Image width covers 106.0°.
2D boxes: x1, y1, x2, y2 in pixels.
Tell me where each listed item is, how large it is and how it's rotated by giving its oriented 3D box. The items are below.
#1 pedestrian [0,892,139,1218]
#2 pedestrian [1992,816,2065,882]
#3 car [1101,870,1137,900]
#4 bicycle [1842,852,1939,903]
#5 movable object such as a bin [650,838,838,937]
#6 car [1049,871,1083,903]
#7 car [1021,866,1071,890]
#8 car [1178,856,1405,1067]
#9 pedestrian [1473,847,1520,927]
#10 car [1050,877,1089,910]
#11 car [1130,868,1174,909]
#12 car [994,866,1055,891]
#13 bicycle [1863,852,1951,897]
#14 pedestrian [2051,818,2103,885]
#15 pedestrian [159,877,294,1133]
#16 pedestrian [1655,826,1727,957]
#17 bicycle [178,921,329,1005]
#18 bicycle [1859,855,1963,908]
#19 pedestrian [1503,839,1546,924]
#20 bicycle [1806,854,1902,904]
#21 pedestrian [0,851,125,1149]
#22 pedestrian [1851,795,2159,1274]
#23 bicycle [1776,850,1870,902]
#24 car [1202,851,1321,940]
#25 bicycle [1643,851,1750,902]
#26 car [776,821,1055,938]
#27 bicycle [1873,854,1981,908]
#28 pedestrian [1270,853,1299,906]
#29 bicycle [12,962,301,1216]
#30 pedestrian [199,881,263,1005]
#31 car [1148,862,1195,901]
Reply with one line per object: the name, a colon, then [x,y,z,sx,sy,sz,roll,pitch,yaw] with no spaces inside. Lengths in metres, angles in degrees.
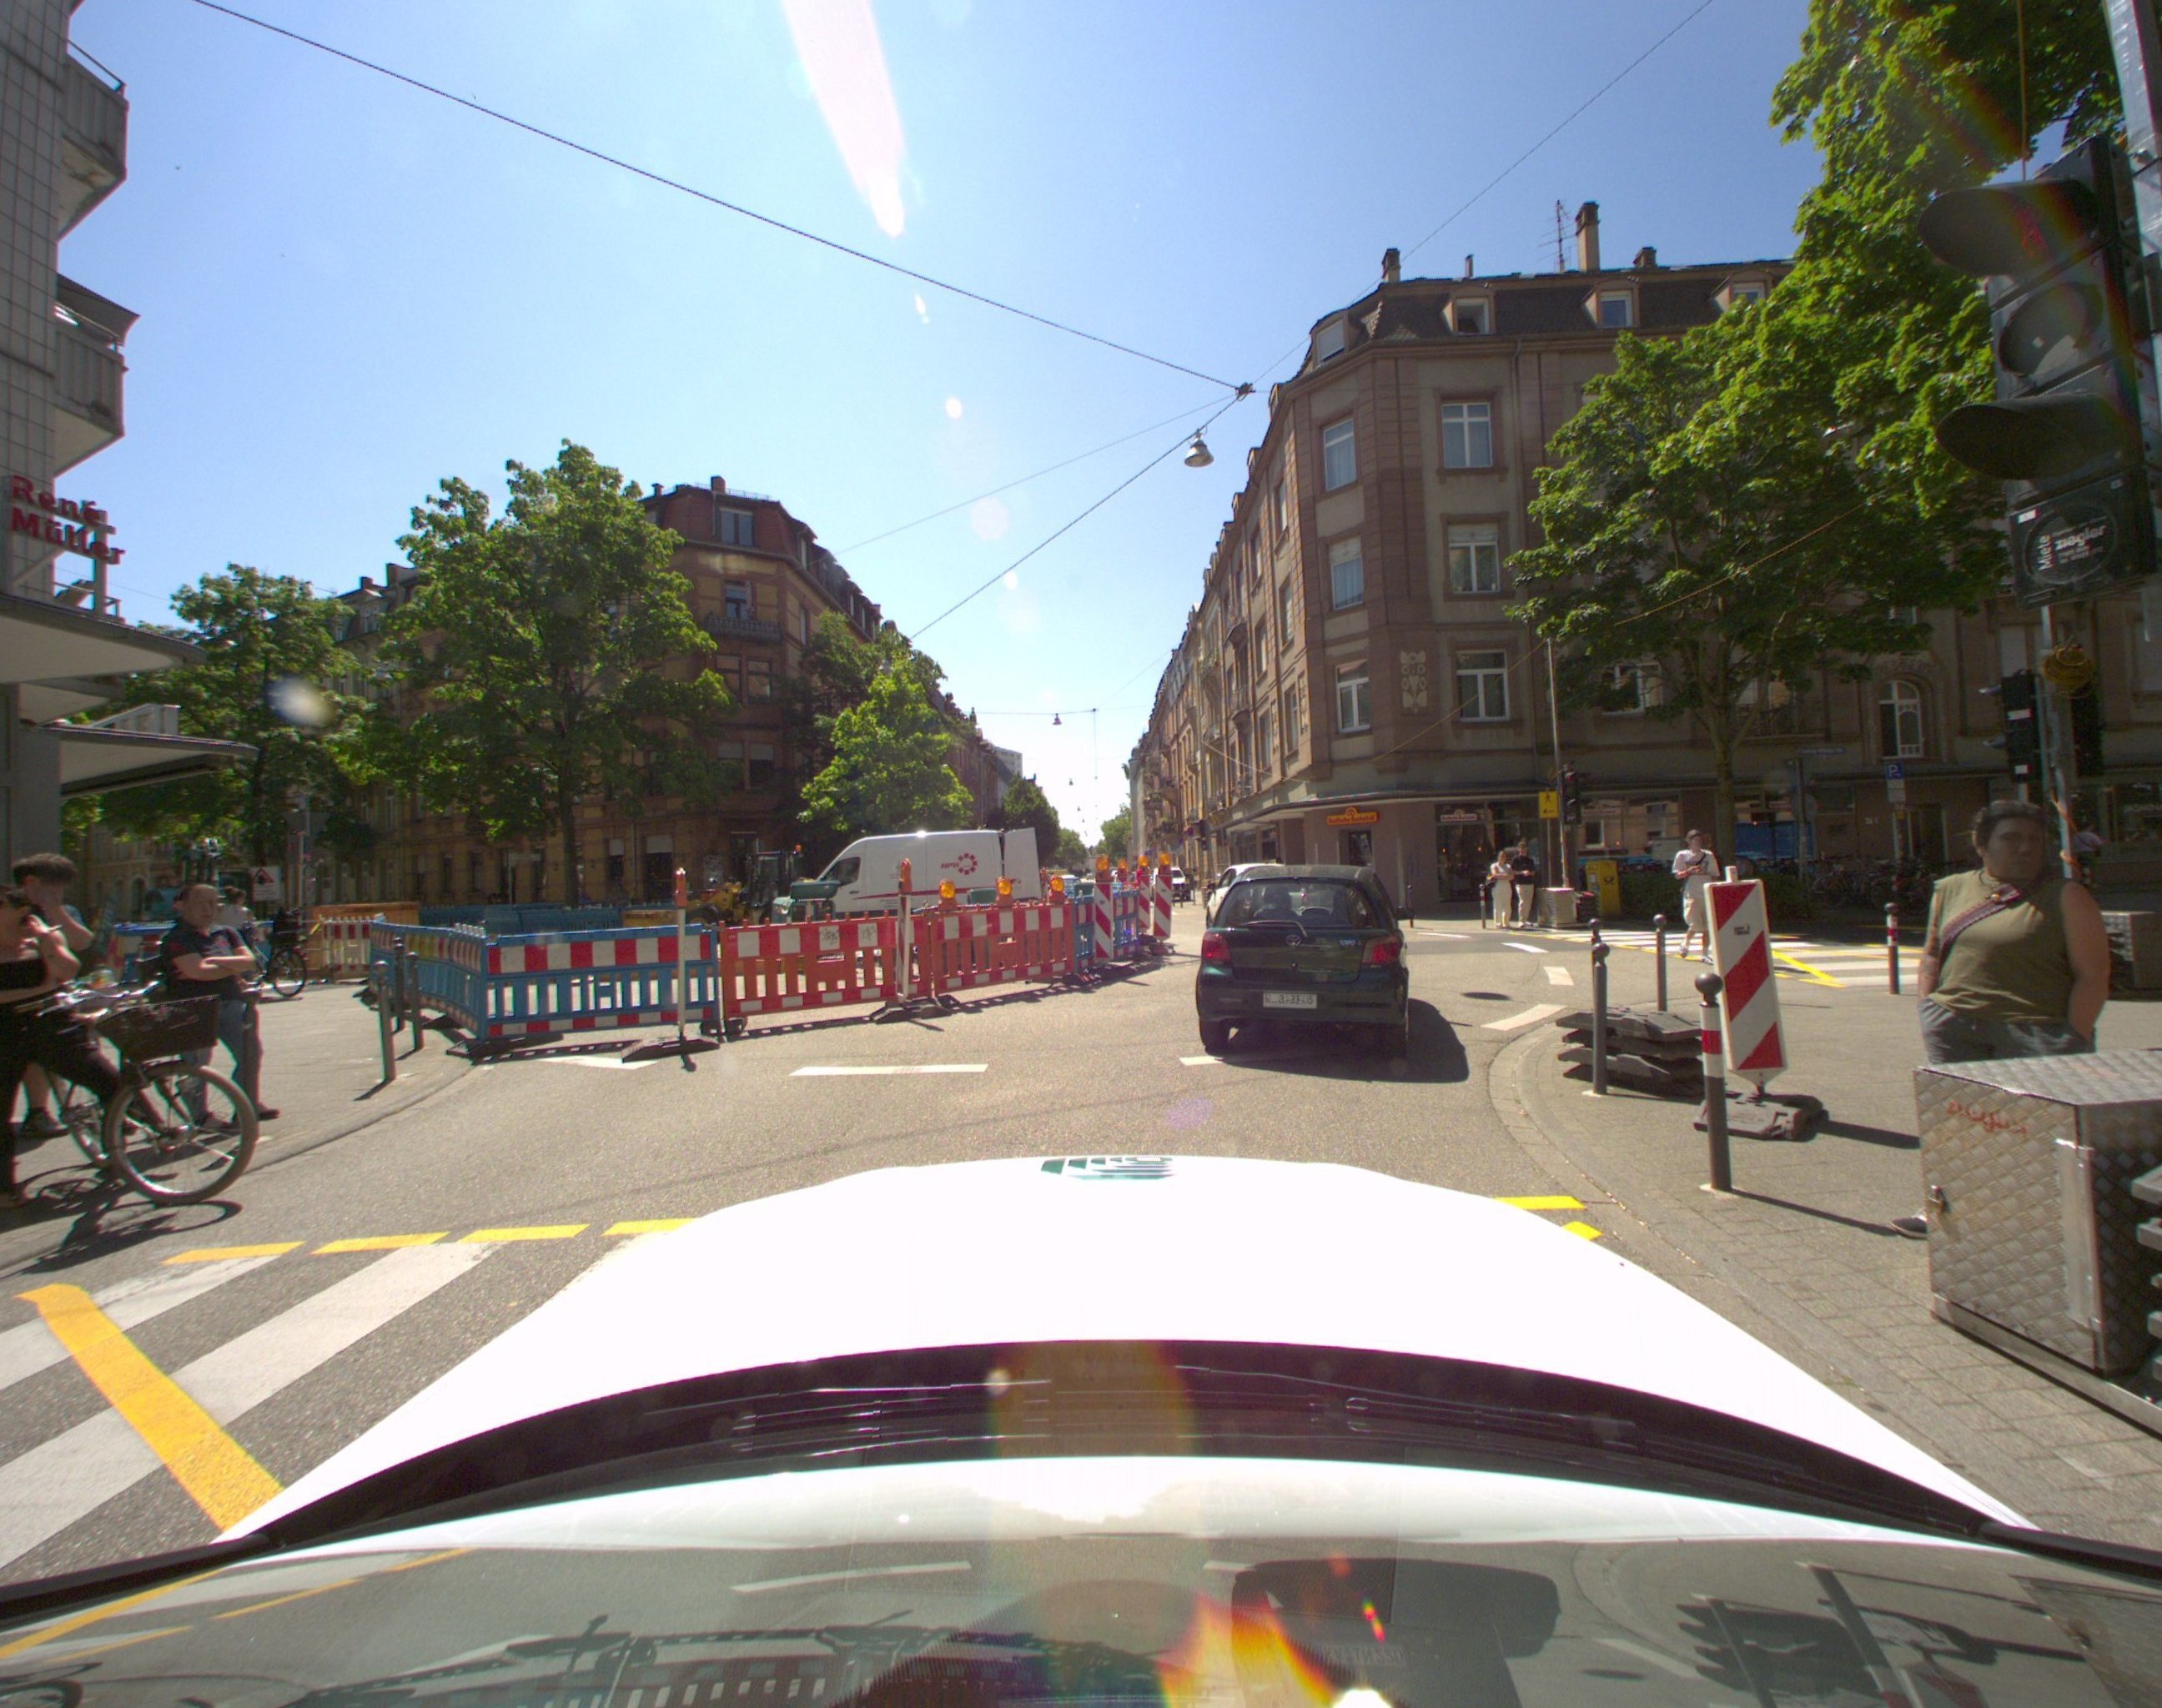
pedestrian: [-5.396,0.996,4.286,0.491,1.566,0.462,-1,-1,27]
pedestrian: [24.504,-0.127,21.074,0.853,1.634,0.787,-3,-1,0]
car: [2.292,1.853,49.917,1.987,1.618,4.000,-5,-1,1]
bicycle: [17.433,0.503,17.543,1.680,1.006,0.470,-3,0,-4]
movable object such as a bin: [-9.538,0.928,23.356,4.531,2.659,1.953,-1,-2,-2]
car: [-0.846,1.962,49.062,1.748,1.645,4.378,-5,-2,1]
car: [-3.571,2.446,82.646,4.582,2.188,1.982,-1,-2,-27]
car: [2.116,0.795,7.547,1.600,1.485,3.258,-2,-1,22]
pedestrian: [8.935,0.694,17.516,0.701,1.645,0.422,-5,2,-8]
car: [-0.525,1.950,40.783,1.748,1.444,4.000,-3,-1,1]
car: [2.979,1.442,34.694,1.517,1.592,3.263,-2,-1,0]
car: [-4.863,2.123,70.349,4.801,1.994,2.034,-1,-2,-28]
bicycle: [20.210,0.497,19.937,1.720,0.996,0.504,-3,0,-4]
pedestrian: [24.520,-0.057,20.064,0.488,1.614,0.560,-3,-1,6]
pedestrian: [-5.714,0.972,5.463,0.388,1.618,0.475,-2,-2,-2]
pedestrian: [8.434,0.521,11.290,0.473,1.733,0.876,-3,-3,20]
bicycle: [-12.146,1.584,11.986,1.573,1.072,0.340,-2,-2,-17]
bicycle: [17.237,0.558,16.925,1.756,0.996,0.470,-3,0,-4]
pedestrian: [9.634,0.581,17.679,0.574,1.768,0.470,-5,2,-7]
bicycle: [17.268,0.550,18.193,1.756,0.996,0.470,-3,0,-4]
pedestrian: [-6.833,0.910,5.297,0.507,1.820,0.599,-2,-2,-2]
pedestrian: [3.267,0.600,2.926,0.457,1.560,0.480,-3,-2,7]
bicycle: [16.987,0.499,18.653,1.756,1.080,0.470,-3,0,-4]
car: [3.479,0.771,16.227,1.518,1.521,3.261,-2,-1,-2]
bicycle: [14.847,0.544,19.695,1.964,1.132,0.519,-3,-2,18]
car: [-4.076,0.642,20.916,6.596,2.752,2.380,-1,-2,2]
bicycle: [17.026,0.533,16.407,1.756,0.996,0.470,-3,0,-4]
pedestrian: [6.427,0.814,25.769,0.639,1.623,0.804,-2,-1,1]
bicycle: [-5.114,1.209,4.488,1.789,1.119,0.470,-1,-1,22]
pedestrian: [-12.220,1.255,11.707,0.385,1.715,0.594,-4,-2,40]
car: [4.401,1.326,40.166,1.864,1.713,4.505,-4,-2,2]
